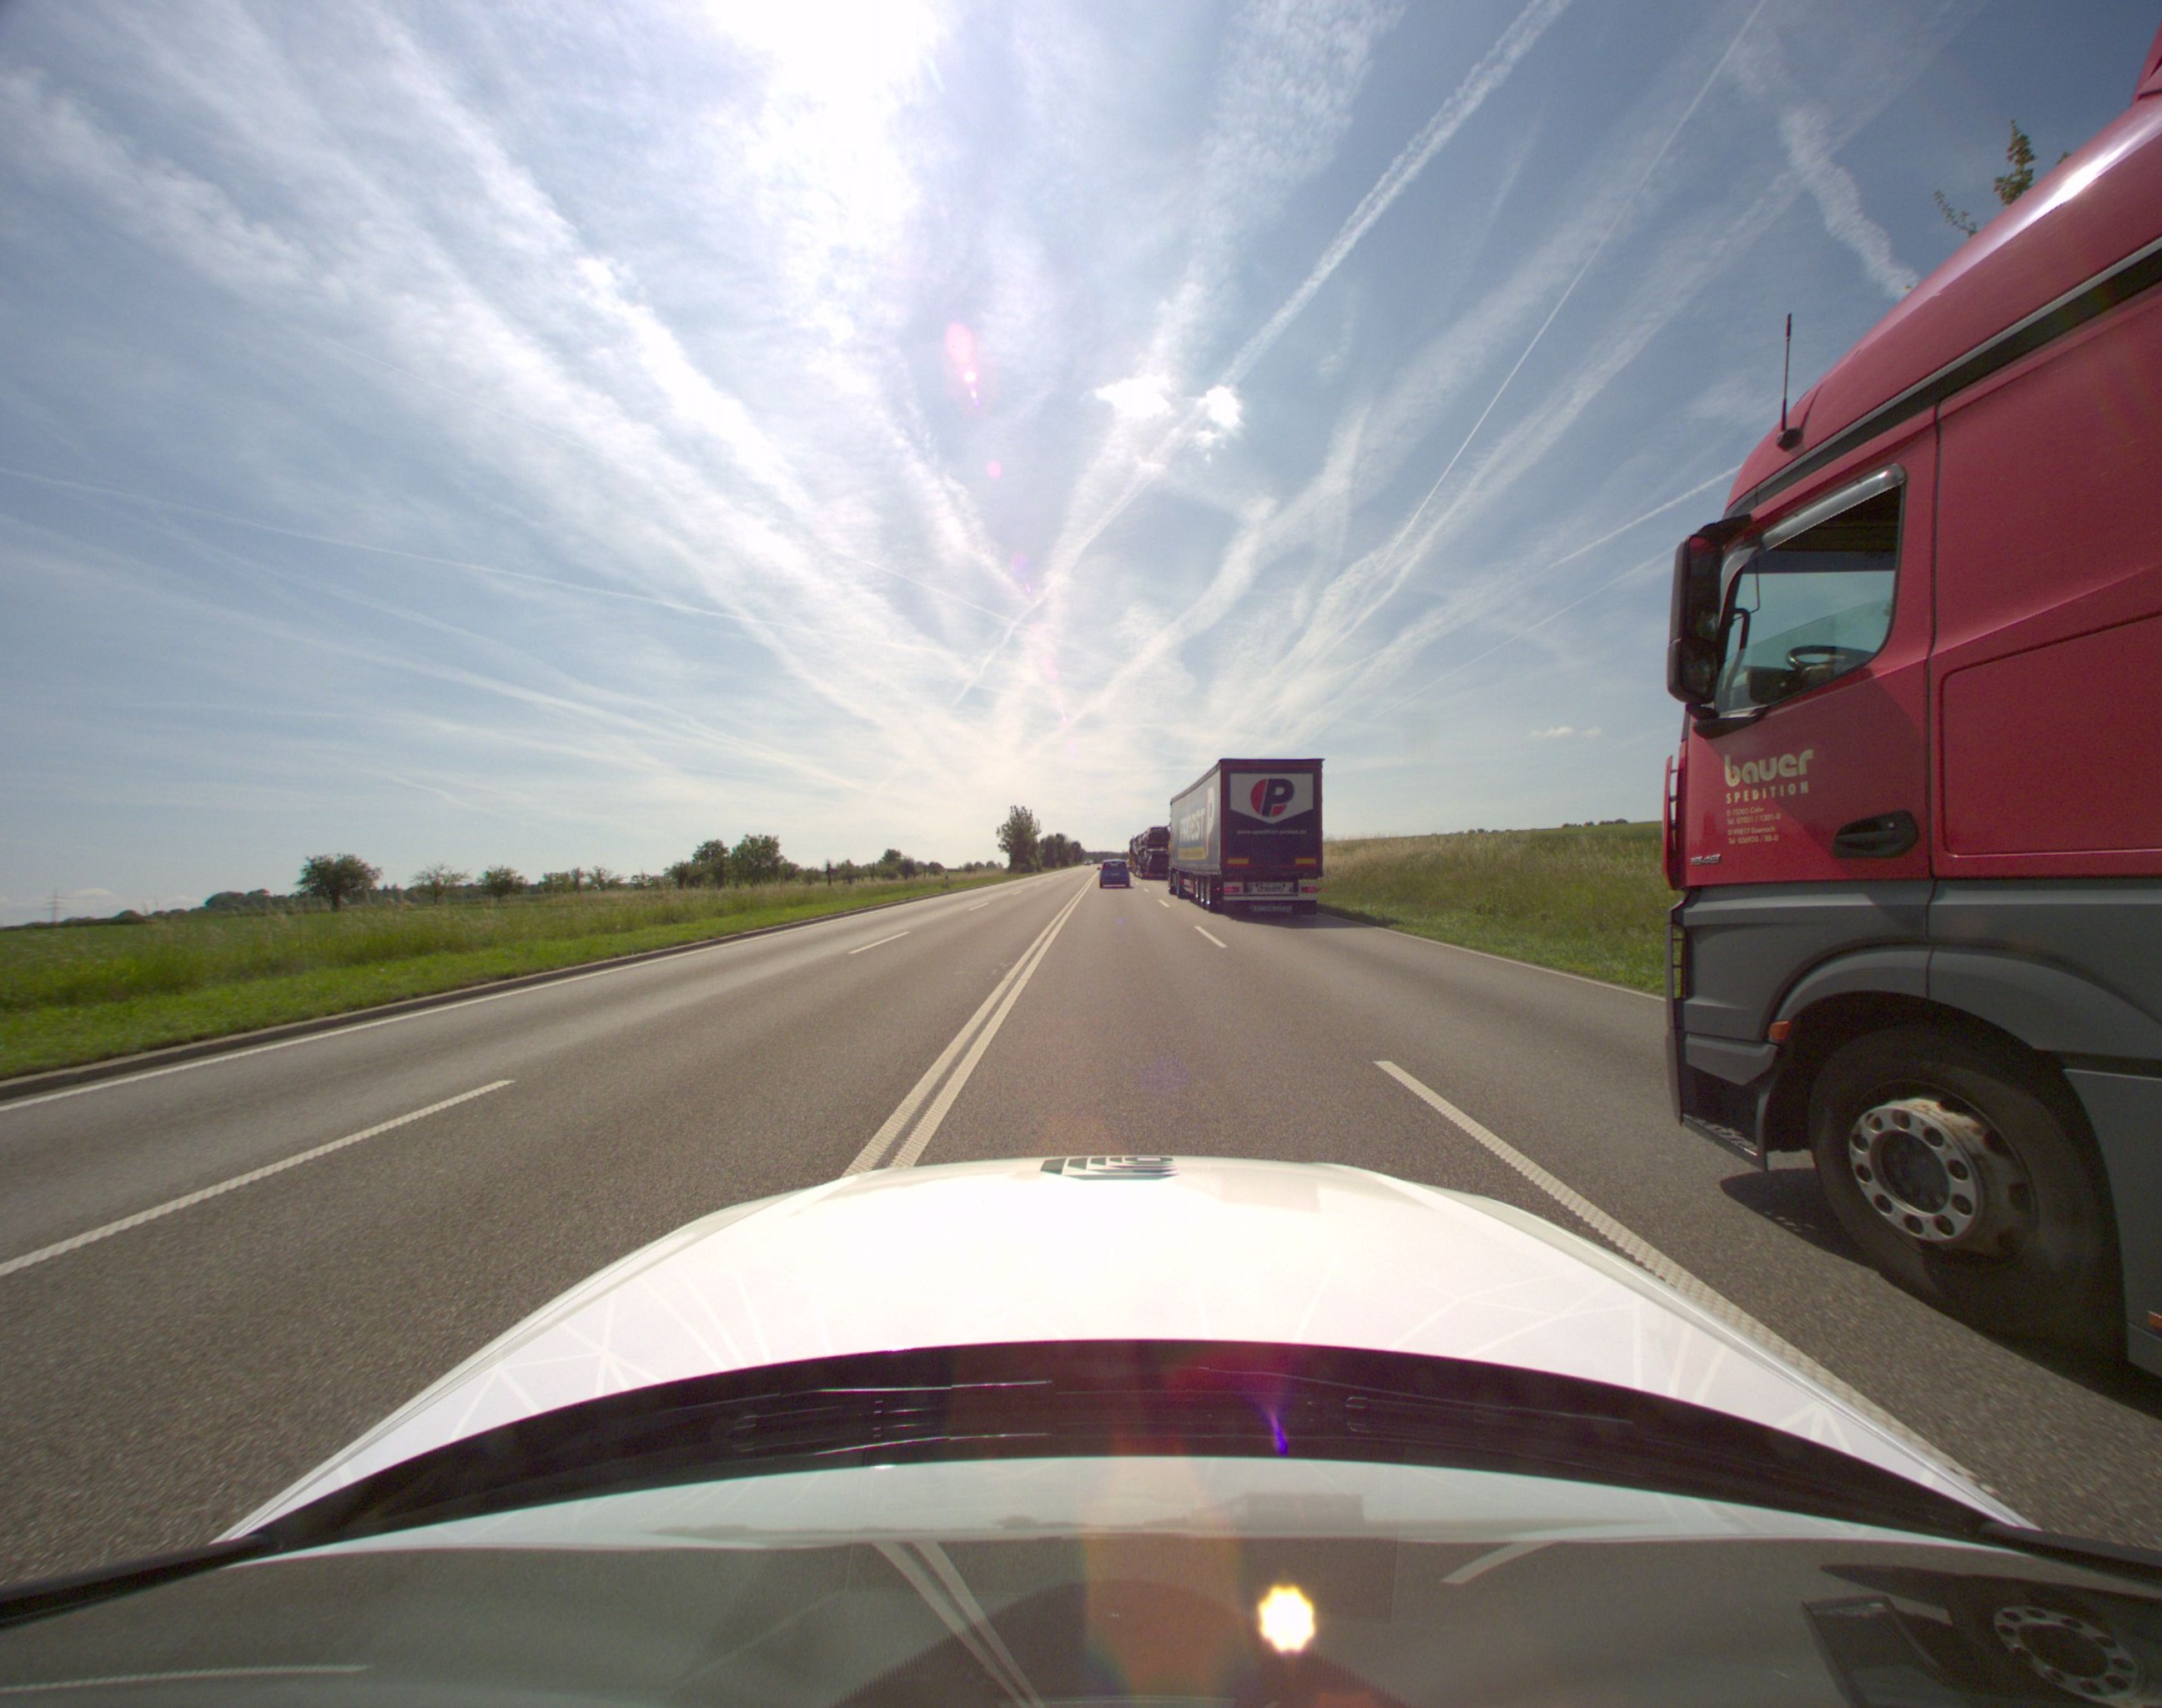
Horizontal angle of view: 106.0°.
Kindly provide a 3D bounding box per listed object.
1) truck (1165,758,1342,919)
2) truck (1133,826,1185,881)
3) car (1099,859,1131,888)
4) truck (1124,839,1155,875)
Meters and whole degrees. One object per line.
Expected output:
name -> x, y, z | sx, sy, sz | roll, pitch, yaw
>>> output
truck -> 5.027, -0.307, 27.785 | 3.036, 3.910, 15.617 | 0, -1, 1
truck -> 6.142, 0.038, 67.417 | 3.035, 3.910, 18.403 | 0, -1, 2
car -> 1.942, 1.037, 45.657 | 1.625, 1.531, 3.919 | -1, 0, 4
truck -> 7.001, 0.400, 99.592 | 3.035, 3.910, 18.403 | 0, -1, 2
